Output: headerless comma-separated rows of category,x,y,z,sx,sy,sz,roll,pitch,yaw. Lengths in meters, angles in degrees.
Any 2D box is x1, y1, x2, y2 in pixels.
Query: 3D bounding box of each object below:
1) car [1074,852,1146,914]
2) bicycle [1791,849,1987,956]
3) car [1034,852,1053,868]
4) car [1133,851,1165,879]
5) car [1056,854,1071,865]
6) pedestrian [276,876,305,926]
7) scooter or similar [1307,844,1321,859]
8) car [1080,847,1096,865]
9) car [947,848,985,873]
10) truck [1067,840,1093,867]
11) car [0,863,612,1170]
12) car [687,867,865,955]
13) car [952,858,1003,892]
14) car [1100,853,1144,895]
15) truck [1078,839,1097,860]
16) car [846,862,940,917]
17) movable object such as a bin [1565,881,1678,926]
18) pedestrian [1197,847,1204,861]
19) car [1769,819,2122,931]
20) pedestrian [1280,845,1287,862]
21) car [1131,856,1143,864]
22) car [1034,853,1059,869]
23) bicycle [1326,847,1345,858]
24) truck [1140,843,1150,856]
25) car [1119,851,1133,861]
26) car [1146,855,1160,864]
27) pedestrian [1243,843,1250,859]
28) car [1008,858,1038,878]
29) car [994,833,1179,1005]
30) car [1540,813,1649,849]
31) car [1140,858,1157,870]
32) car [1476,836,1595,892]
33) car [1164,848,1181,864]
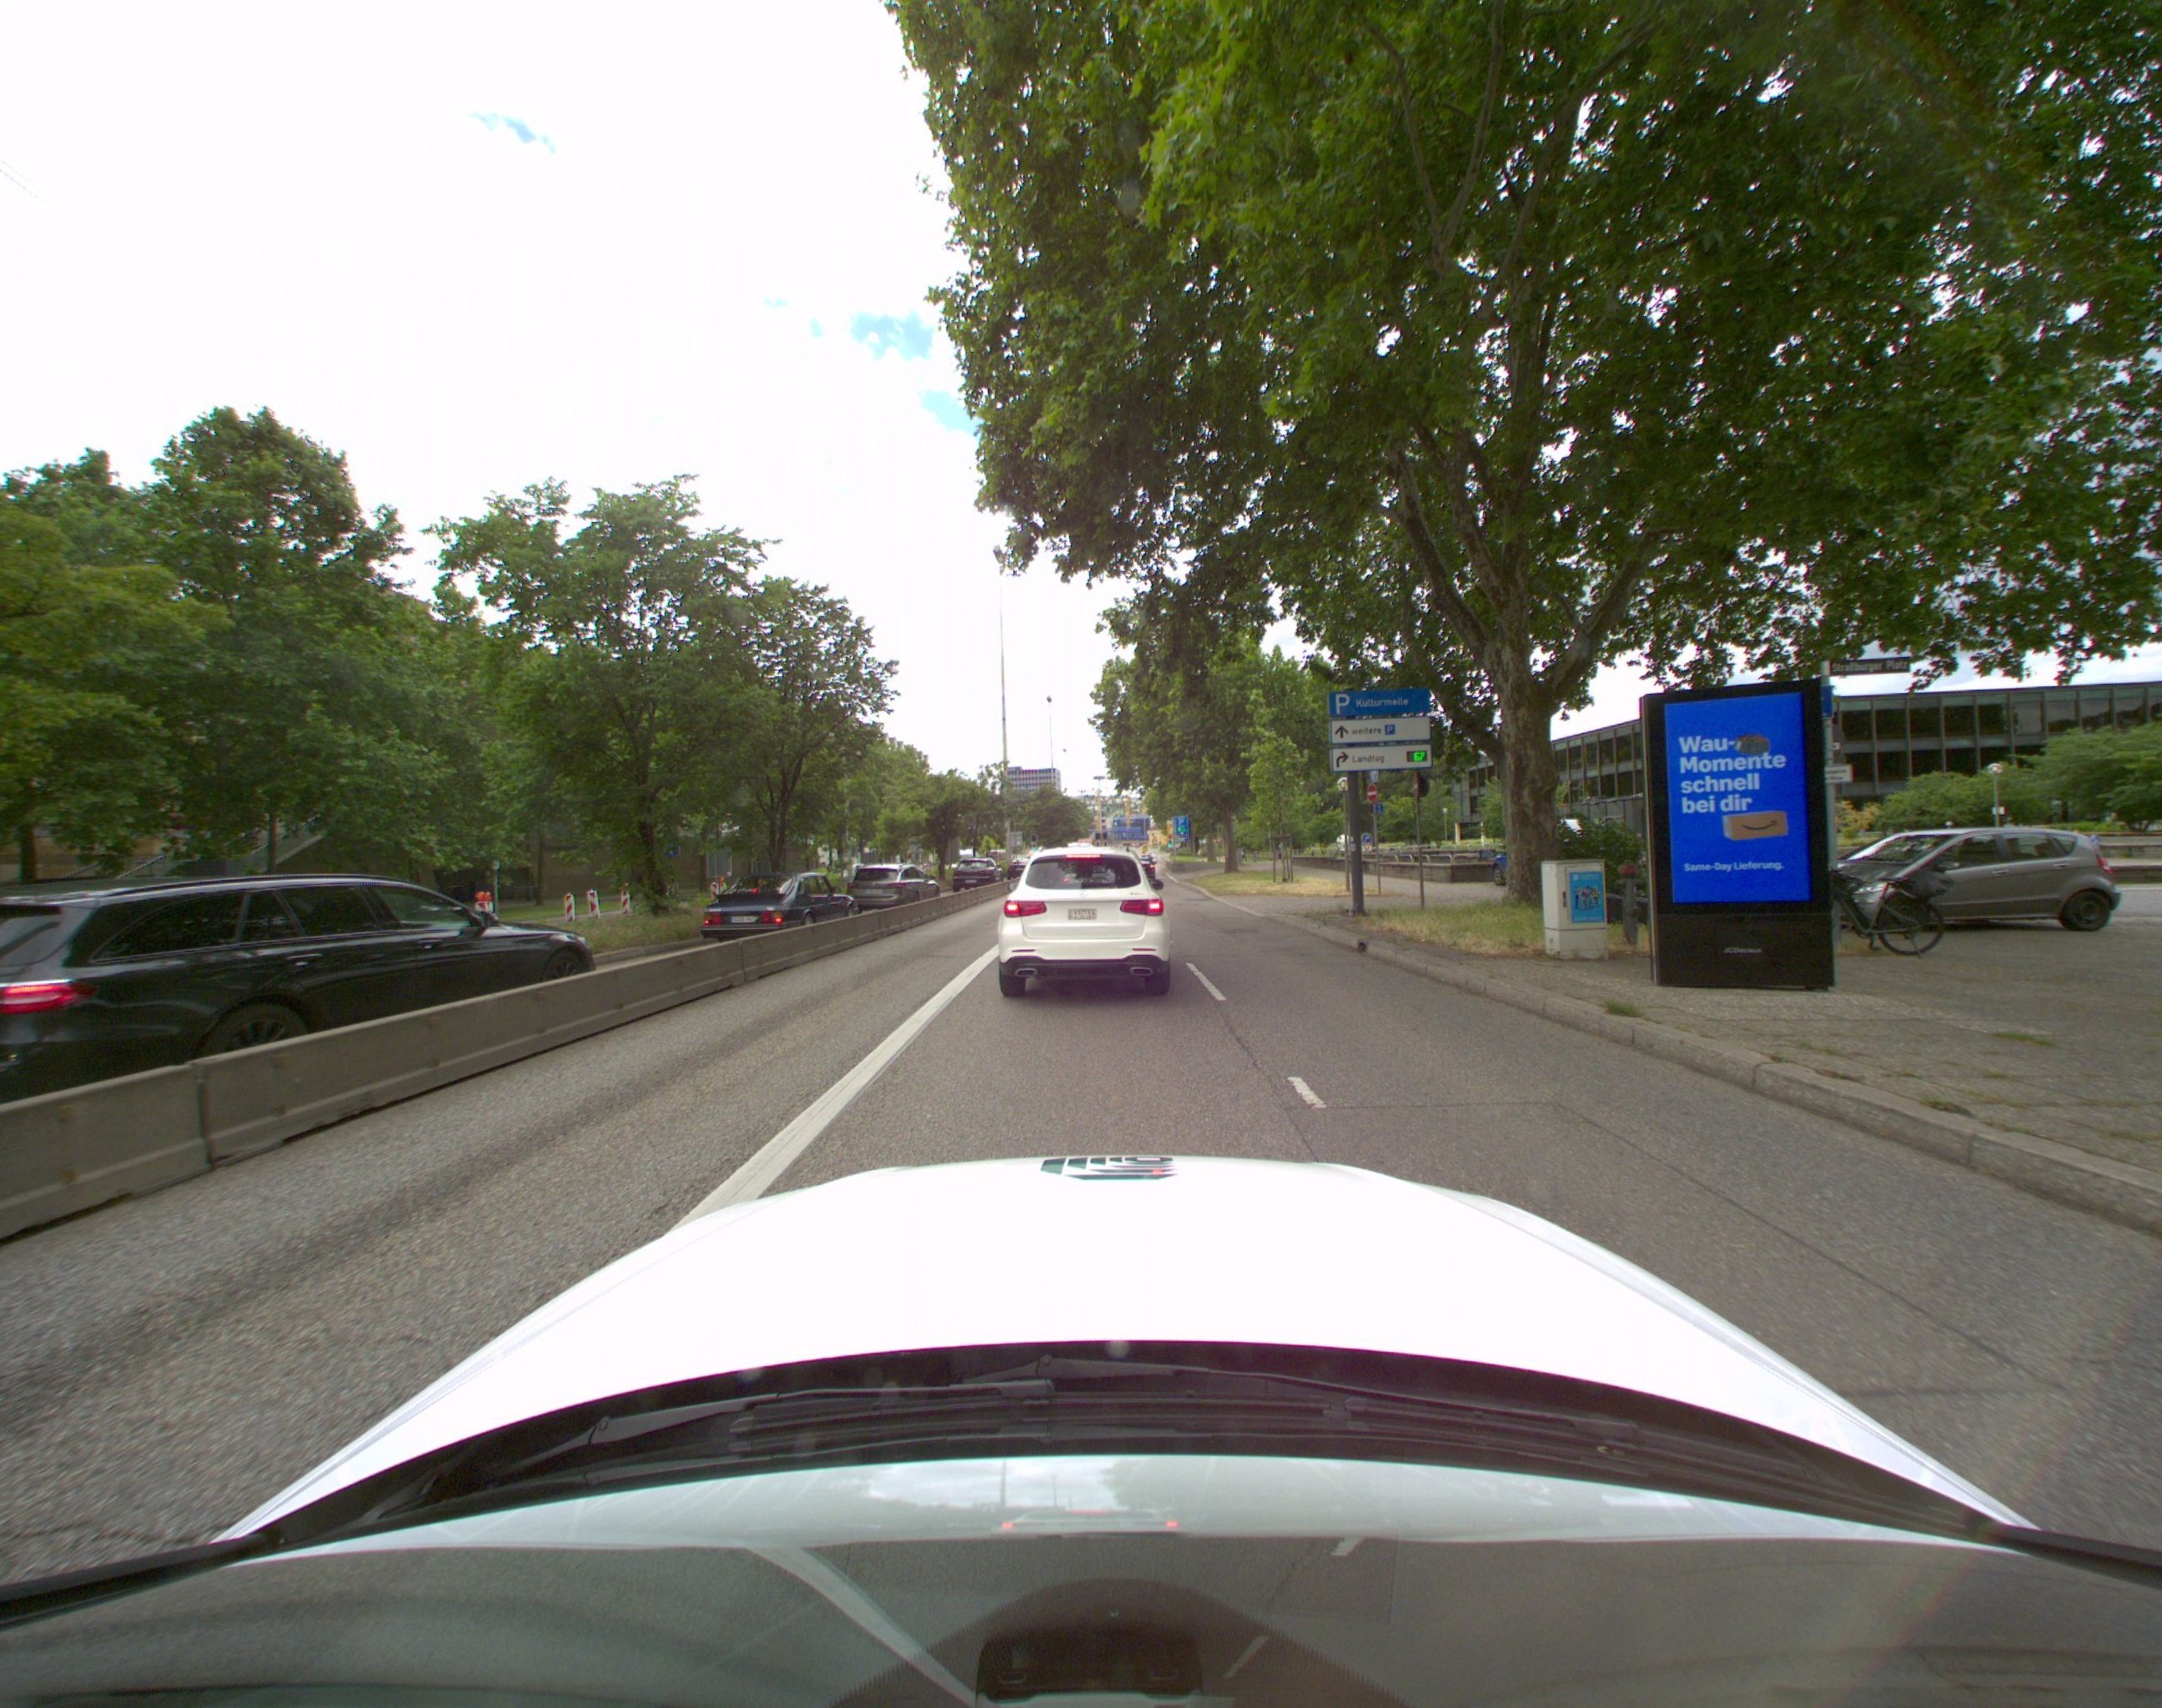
car,0.750,0.792,23.478,1.791,1.608,3.751,-1,0,-2
bicycle,9.804,0.581,9.920,1.777,1.221,0.493,-2,0,4
car,-3.695,0.583,81.592,1.654,1.513,3.547,-2,0,0
car,4.380,0.689,53.122,1.818,1.752,4.002,-2,0,2
car,-2.269,0.724,105.915,1.652,1.319,3.550,-1,0,3
pedestrian,-32.520,1.917,33.509,0.449,2.013,0.665,-2,0,2
scooter or similar,19.326,-0.217,67.564,0.633,1.245,2.228,0,-1,5
car,0.972,0.269,113.751,1.986,2.475,4.002,-2,0,2
car,-9.616,0.522,68.783,2.107,1.969,5.581,-2,0,2
truck,-0.088,-0.047,89.355,2.611,2.861,7.081,-1,0,1
car,-6.121,0.874,6.503,1.809,1.499,4.771,-2,0,2
car,-5.844,1.014,16.261,1.672,1.367,4.545,-2,0,2
car,-4.887,0.968,38.963,1.769,1.420,4.002,-2,0,2
car,1.680,0.811,34.535,1.654,1.639,3.546,-1,0,0
truck,0.956,-0.622,121.279,2.682,2.992,5.639,0,-1,1
car,-5.329,0.970,23.607,1.655,1.436,3.962,-1,-1,2
movable object such as a bin,8.408,0.758,12.724,1.291,0.652,0.731,0,-1,10
pedestrian,17.780,0.000,121.538,0.752,2.013,0.703,-2,0,38
car,13.740,0.321,13.122,3.821,1.568,1.680,-2,0,2
pedestrian,20.354,-0.053,81.916,0.634,1.611,0.665,-2,0,10
car,9.985,1.107,144.182,1.937,1.319,4.022,-1,0,5
car,-2.929,0.629,70.252,1.651,1.319,3.552,-1,0,5
bicycle,23.048,-0.136,73.786,0.950,0.975,2.788,0,-1,2
truck,20.568,-1.276,261.257,2.865,4.103,6.643,-1,0,3
car,6.305,0.241,113.663,1.939,1.319,4.020,-1,0,3
car,10.724,0.781,121.827,1.939,1.319,4.020,-1,0,3
pedestrian,18.088,-0.333,88.976,0.754,1.725,0.701,-2,0,10
car,-3.941,0.950,56.017,1.652,1.319,3.550,-1,0,3
car,-0.045,0.638,10.300,1.784,1.625,4.432,-2,0,-3
car,36.050,-1.616,57.299,6.080,2.260,2.404,-2,0,4
car,8.170,1.171,99.093,1.939,1.428,4.020,-1,0,3
car,14.496,0.252,26.237,1.753,1.551,4.031,-2,2,3
car,11.915,0.211,106.682,1.985,2.014,4.004,-1,0,3
